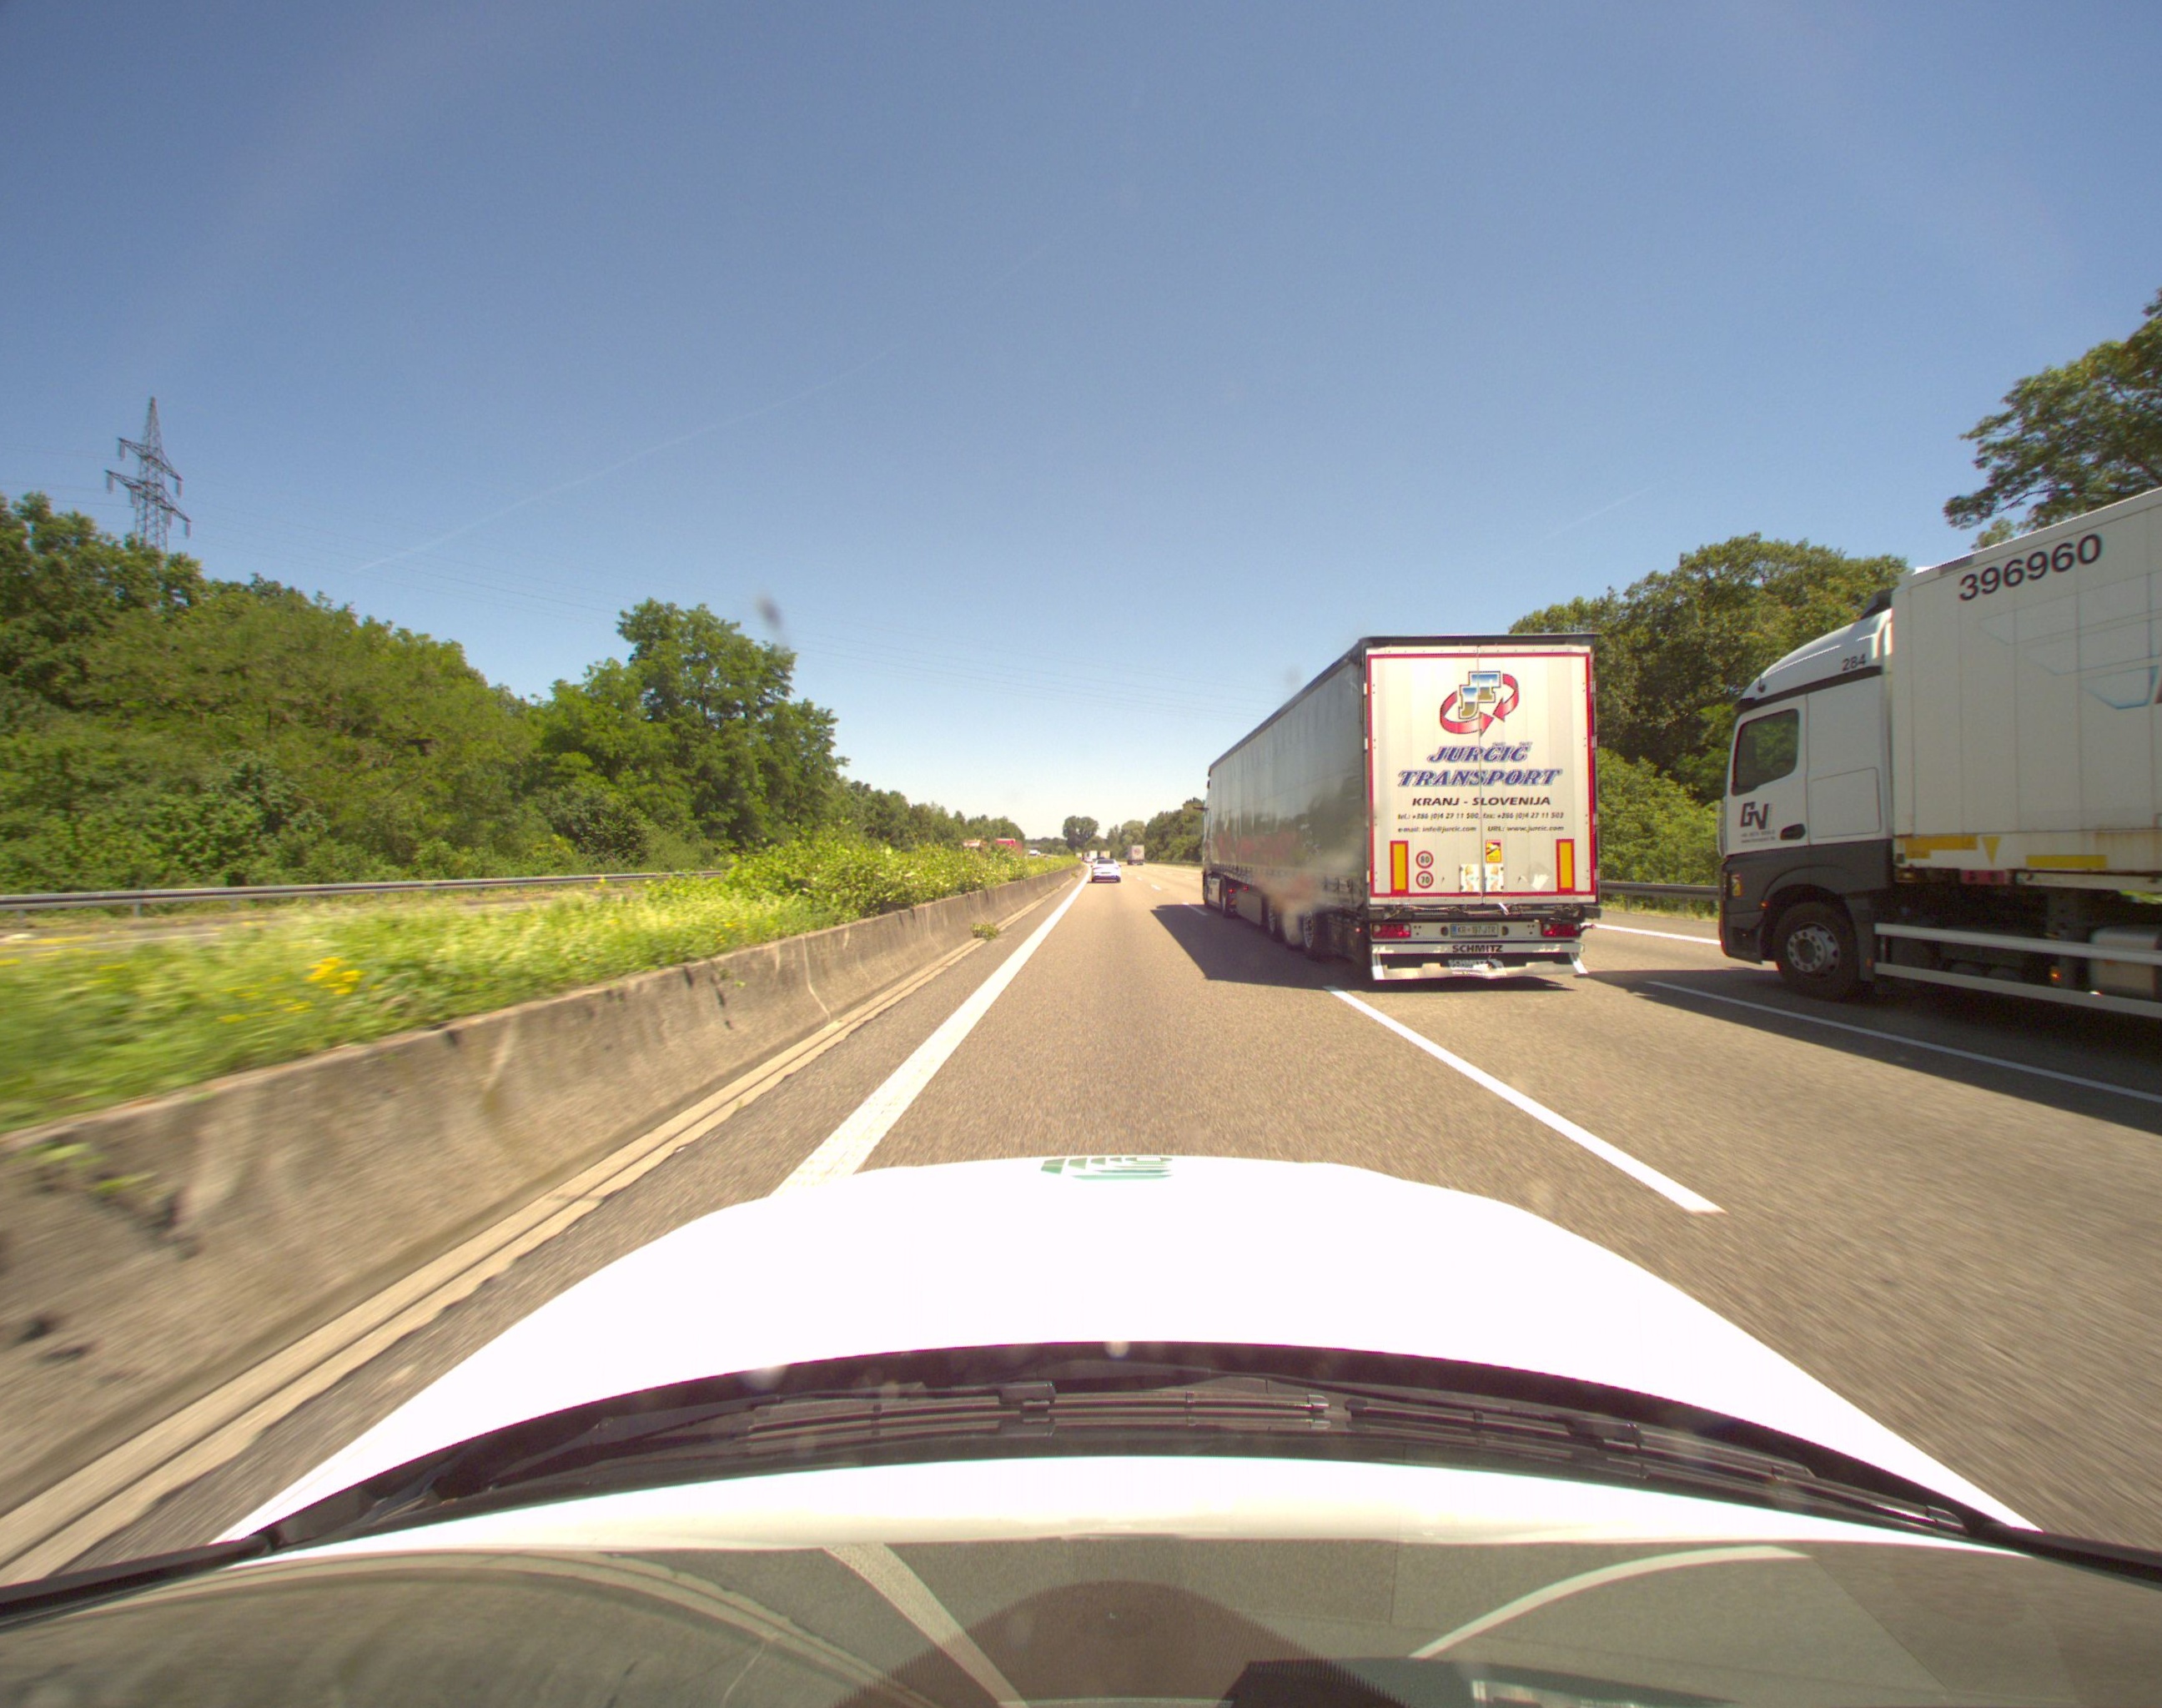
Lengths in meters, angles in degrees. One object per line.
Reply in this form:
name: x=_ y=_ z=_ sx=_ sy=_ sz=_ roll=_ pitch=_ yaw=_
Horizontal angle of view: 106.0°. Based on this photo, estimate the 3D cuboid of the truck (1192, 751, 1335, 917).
truck: x=4.832 y=-0.471 z=22.831 sx=2.713 sy=3.975 sz=6.503 roll=0 pitch=0 yaw=1

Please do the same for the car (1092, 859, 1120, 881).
car: x=1.584 y=0.996 z=51.275 sx=1.708 sy=1.369 sz=3.377 roll=0 pitch=0 yaw=2

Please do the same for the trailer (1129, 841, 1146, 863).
trailer: x=11.459 y=-0.285 z=166.188 sx=2.615 sy=4.261 sz=14.062 roll=0 pitch=0 yaw=1

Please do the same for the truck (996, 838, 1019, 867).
truck: x=-9.842 y=-0.237 z=109.405 sx=2.457 sy=3.788 sz=5.728 roll=0 pitch=0 yaw=0

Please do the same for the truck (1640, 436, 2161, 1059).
truck: x=8.425 y=-0.708 z=5.329 sx=2.517 sy=4.130 sz=10.674 roll=0 pitch=0 yaw=2

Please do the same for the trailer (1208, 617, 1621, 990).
trailer: x=4.612 y=-0.505 z=15.524 sx=2.729 sy=3.975 sz=13.660 roll=0 pitch=0 yaw=2

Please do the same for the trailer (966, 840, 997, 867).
trailer: x=-13.829 y=-0.040 z=114.187 sx=2.363 sy=3.595 sz=14.222 roll=0 pitch=0 yaw=1

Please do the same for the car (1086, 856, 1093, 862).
car: x=2.486 y=1.484 z=240.453 sx=1.719 sy=1.783 sz=3.996 roll=0 pitch=0 yaw=-3

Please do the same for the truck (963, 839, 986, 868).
truck: x=-13.954 y=-0.065 z=106.479 sx=2.348 sy=3.601 sz=4.164 roll=0 pitch=0 yaw=1

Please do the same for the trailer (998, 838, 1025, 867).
trailer: x=-9.759 y=-0.198 z=116.440 sx=2.457 sy=3.935 sz=14.400 roll=0 pitch=0 yaw=1

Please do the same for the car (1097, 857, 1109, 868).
car: x=3.664 y=1.425 z=137.415 sx=1.986 sy=1.772 sz=4.002 roll=0 pitch=0 yaw=2
